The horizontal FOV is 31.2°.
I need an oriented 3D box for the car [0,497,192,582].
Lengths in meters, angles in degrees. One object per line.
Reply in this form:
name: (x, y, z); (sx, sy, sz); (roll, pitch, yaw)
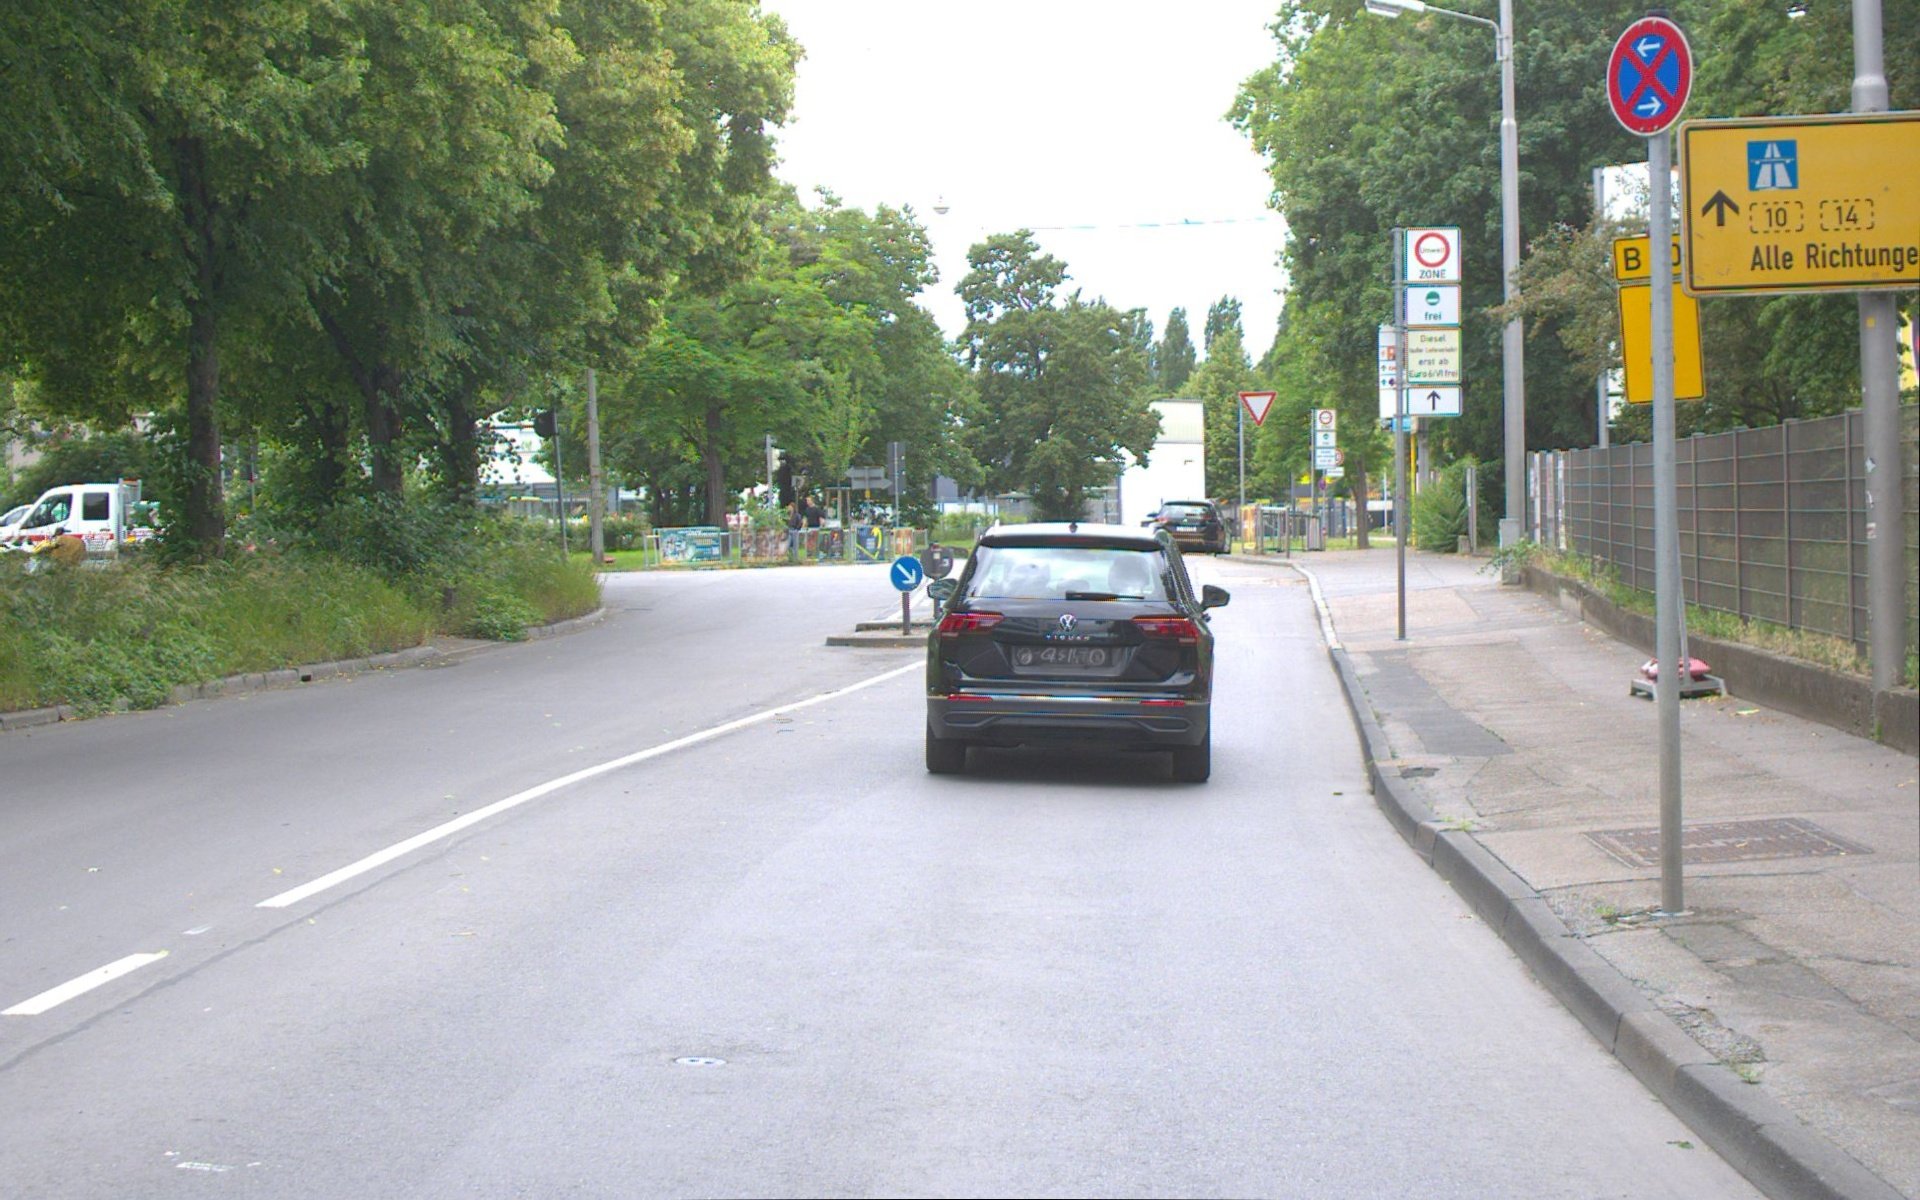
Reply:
car: (-21.405, -1.471, 83.349); (4.980, 1.935, 2.047); (-1, 2, 10)

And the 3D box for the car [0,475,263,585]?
car: (-19.418, -1.623, 79.588); (6.070, 2.379, 2.395); (-1, 2, -1)

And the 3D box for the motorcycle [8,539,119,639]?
motorcycle: (-11.090, -0.149, 42.593); (0.566, 1.164, 2.035); (-1, 2, 8)

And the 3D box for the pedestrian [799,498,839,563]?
pedestrian: (-3.791, -1.865, 92.598); (0.725, 1.736, 0.743); (-3, 2, -45)

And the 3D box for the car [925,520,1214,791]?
car: (0.762, 0.294, 22.708); (1.739, 1.612, 3.641); (1, 2, 3)

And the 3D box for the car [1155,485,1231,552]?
car: (5.821, -2.040, 85.707); (1.659, 1.569, 3.828); (-2, 1, 7)
